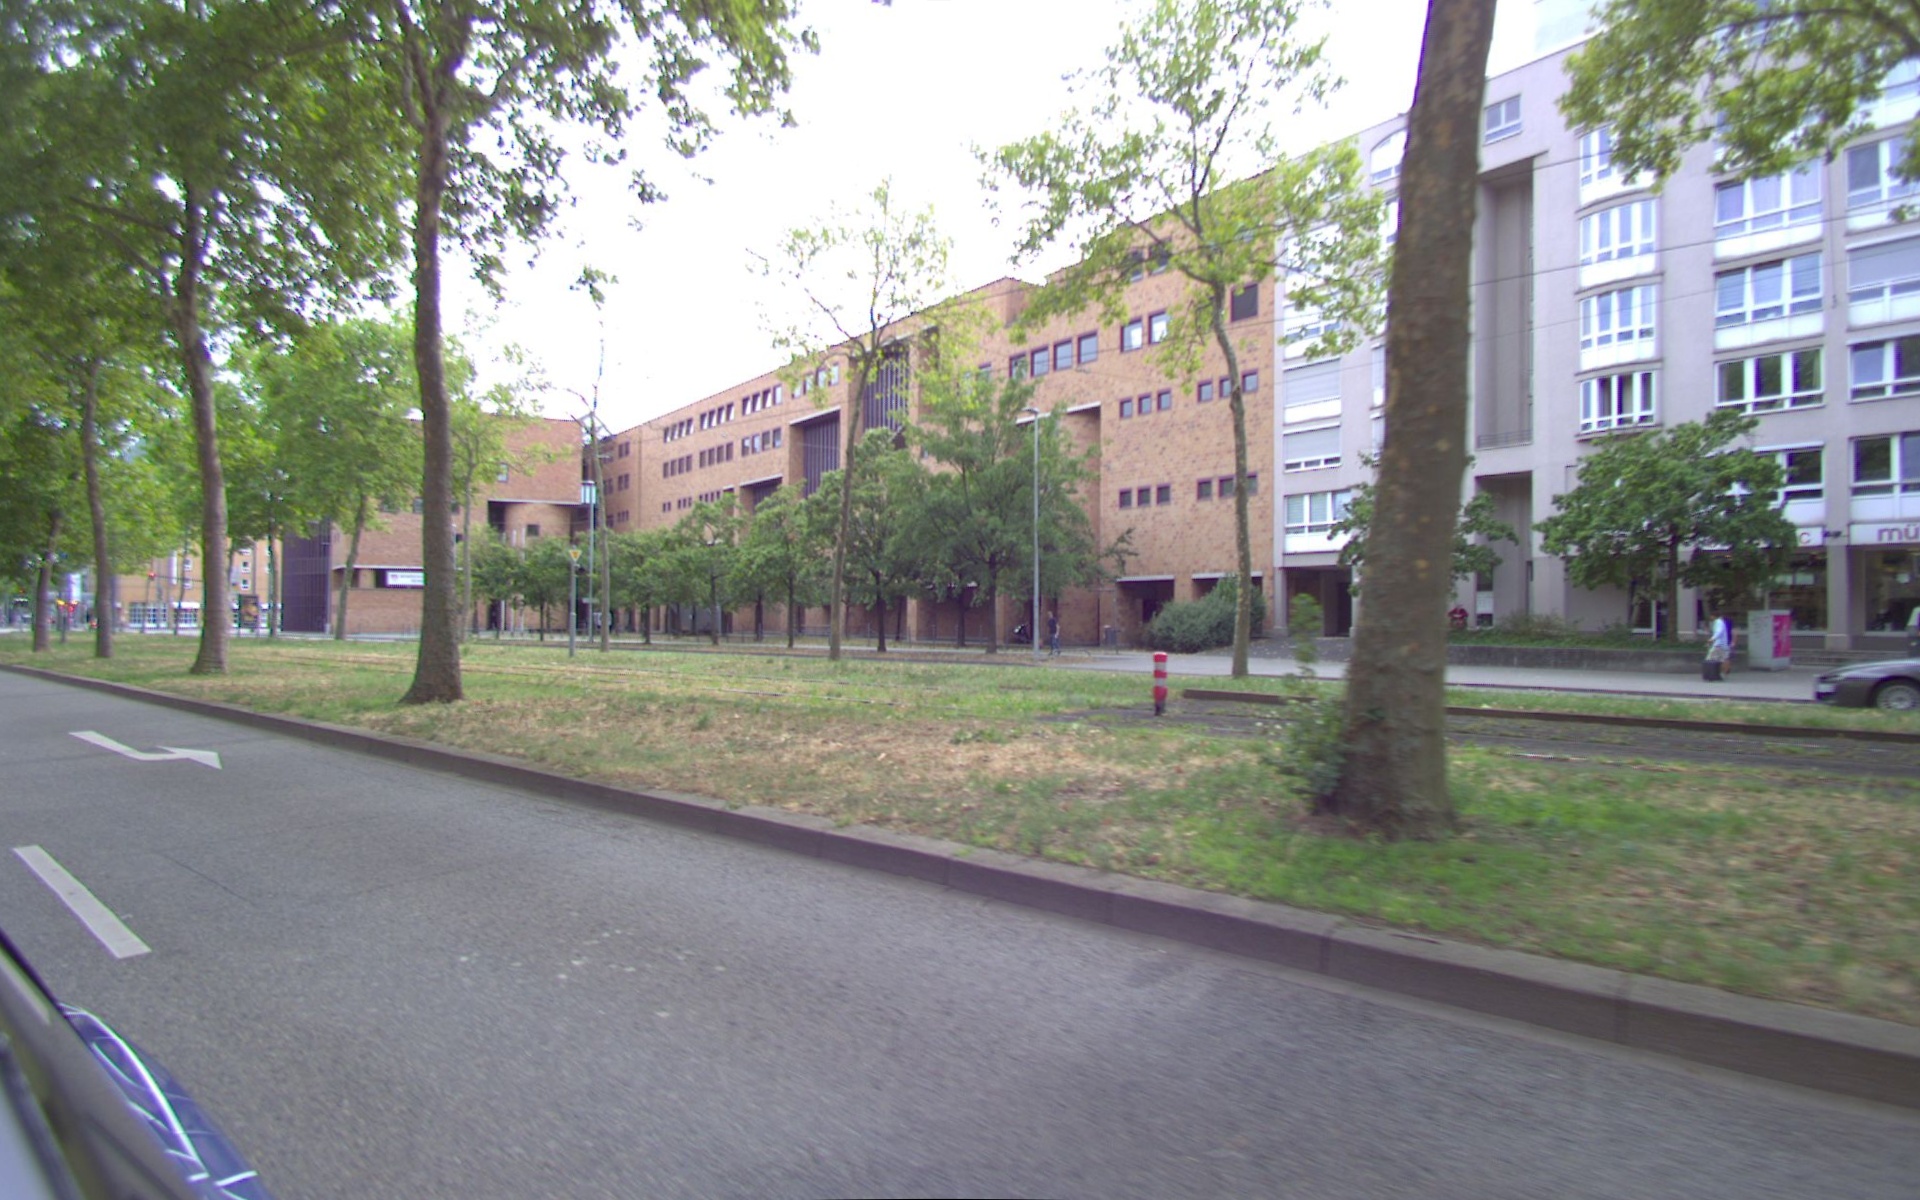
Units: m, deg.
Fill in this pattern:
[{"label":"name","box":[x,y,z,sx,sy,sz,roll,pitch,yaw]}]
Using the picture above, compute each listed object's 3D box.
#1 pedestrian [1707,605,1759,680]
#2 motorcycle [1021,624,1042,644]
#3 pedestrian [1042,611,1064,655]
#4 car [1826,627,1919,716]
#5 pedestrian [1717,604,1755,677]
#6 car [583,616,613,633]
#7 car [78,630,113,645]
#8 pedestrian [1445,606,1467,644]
[{"label":"pedestrian","box":[18.284,0.998,23.941,0.885,1.718,0.546,-2,-2,45]},{"label":"motorcycle","box":[4.215,1.994,59.635,0.790,1.200,2.184,0,-2,17]},{"label":"pedestrian","box":[3.623,1.284,39.363,0.626,1.718,0.546,-2,-2,45]},{"label":"car","box":[15.283,1.027,14.337,4.531,1.254,1.712,-1,-2,40]},{"label":"pedestrian","box":[18.702,0.971,24.392,0.626,1.718,0.546,-2,-2,45]},{"label":"car","box":[-39.487,2.650,110.253,1.868,1.821,4.008,1,-2,-38]},{"label":"car","box":[-82.831,3.554,96.939,4.653,1.432,1.766,-1,-2,39]},{"label":"pedestrian","box":[17.681,0.899,36.097,0.451,1.333,0.555,1,-2,-38]}]
